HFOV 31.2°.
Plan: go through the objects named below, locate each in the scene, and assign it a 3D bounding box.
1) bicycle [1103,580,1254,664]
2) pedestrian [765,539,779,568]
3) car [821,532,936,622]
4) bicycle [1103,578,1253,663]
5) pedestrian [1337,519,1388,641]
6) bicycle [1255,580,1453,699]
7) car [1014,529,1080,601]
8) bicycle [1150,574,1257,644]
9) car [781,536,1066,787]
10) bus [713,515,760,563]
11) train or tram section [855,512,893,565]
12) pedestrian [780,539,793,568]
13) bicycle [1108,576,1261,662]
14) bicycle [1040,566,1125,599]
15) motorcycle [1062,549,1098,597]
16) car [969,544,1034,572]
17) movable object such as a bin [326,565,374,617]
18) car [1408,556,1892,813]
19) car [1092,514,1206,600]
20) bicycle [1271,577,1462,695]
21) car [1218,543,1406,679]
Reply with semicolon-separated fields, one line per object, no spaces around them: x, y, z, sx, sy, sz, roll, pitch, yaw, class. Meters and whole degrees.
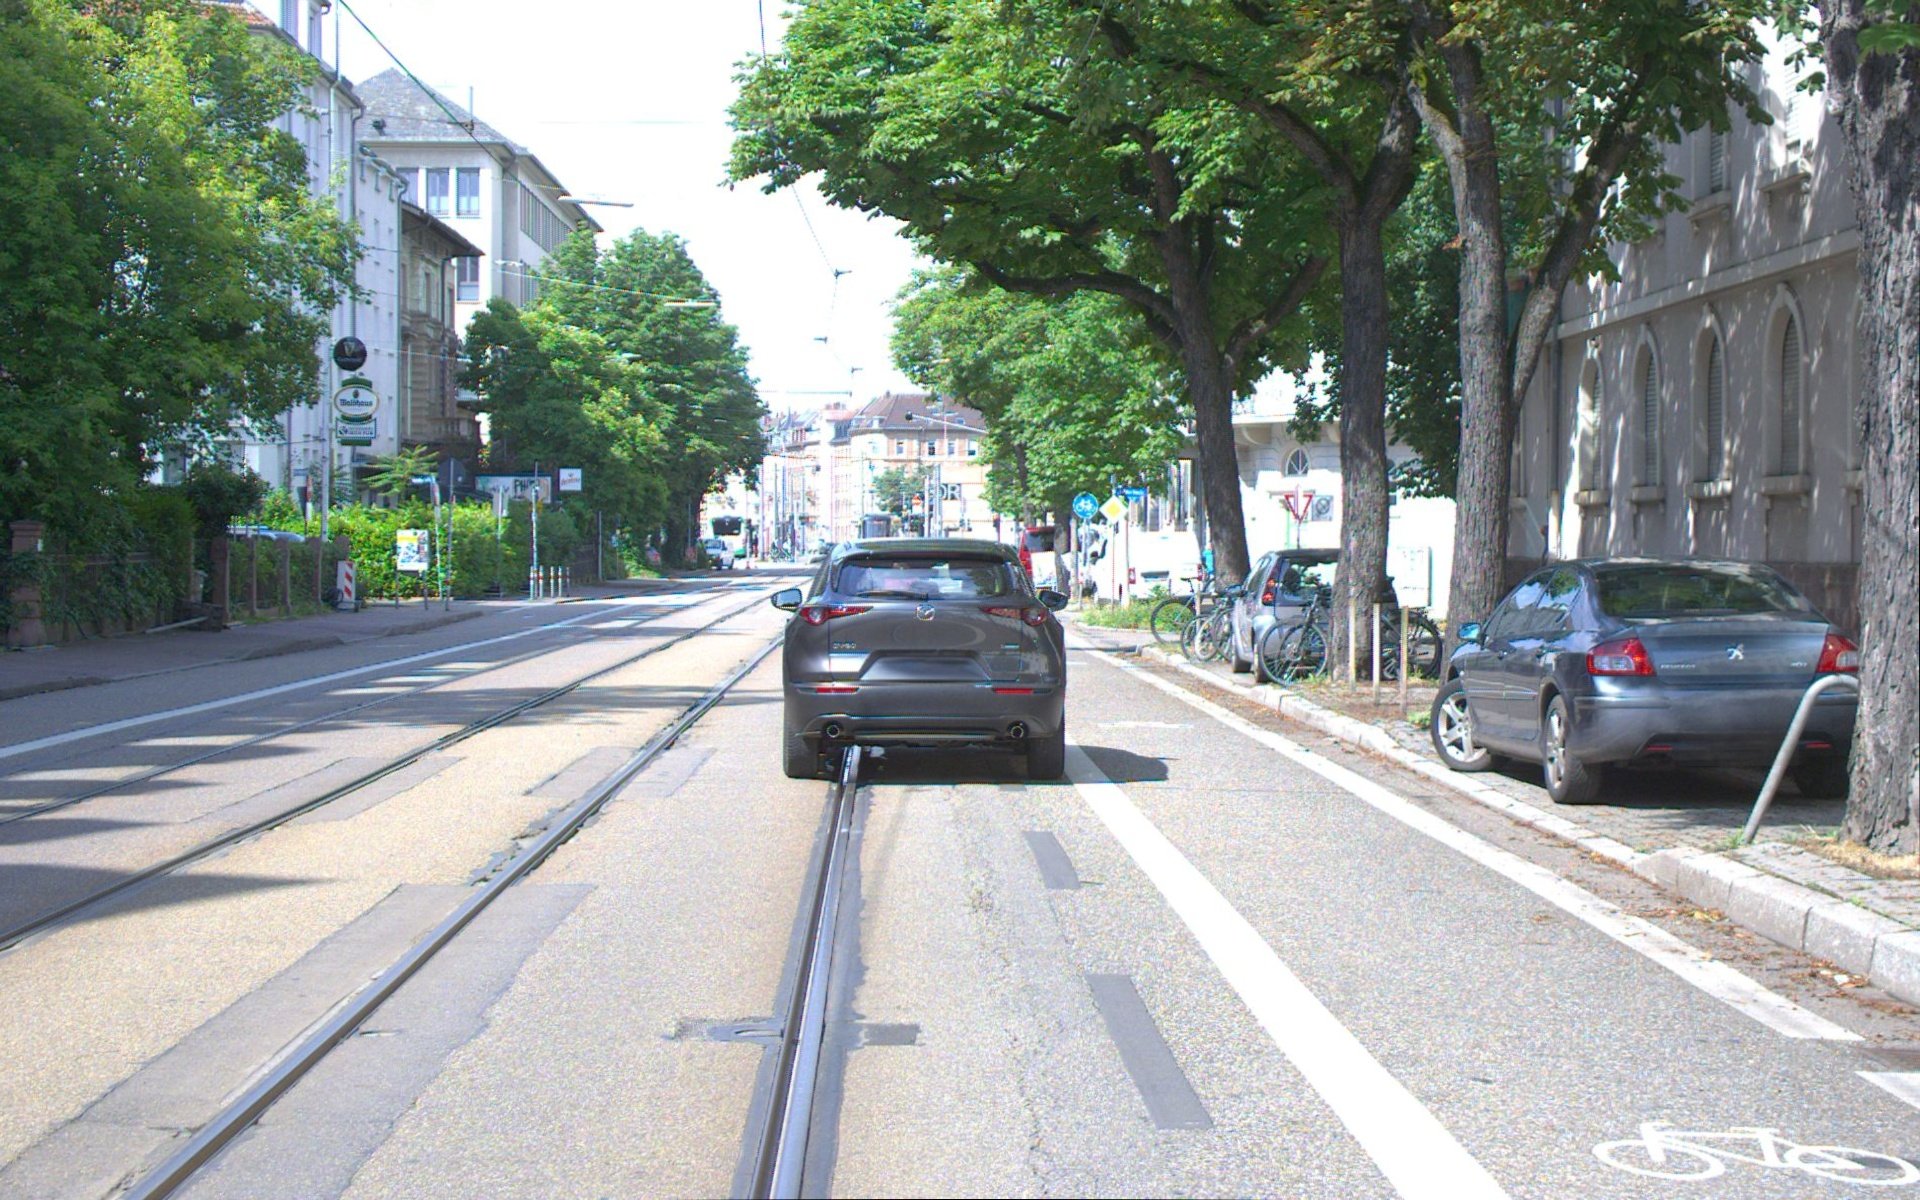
2.810;0.281;44.198;1.903;1.068;0.402;0;1;-1;bicycle
-12.878;-3.166;235.416;0.884;2.007;0.618;0;1;-5;pedestrian
-1.512;-0.438;63.469;1.993;1.523;4.000;2;1;-2;car
2.824;0.264;44.597;1.903;1.068;0.402;0;1;-1;bicycle
6.093;-0.289;52.071;0.610;1.830;0.879;0;-1;-3;pedestrian
3.964;0.392;34.551;1.938;1.172;0.513;-1;0;11;bicycle
2.441;-1.003;97.402;1.720;1.962;4.207;0;1;-1;car
3.442;0.128;48.624;1.491;0.980;0.259;0;0;1;bicycle
-0.268;0.346;22.687;1.720;1.521;3.590;0;1;-2;car
-16.761;-4.561;257.066;2.688;3.409;11.020;2;1;-7;bus
-6.205;-4.447;250.340;2.571;3.760;13.026;0;1;-1;train or tram section
-11.888;-3.179;235.414;0.884;2.007;0.618;0;1;-5;pedestrian
2.848;0.238;43.666;1.903;1.068;0.402;0;1;-1;bicycle
3.336;-0.479;93.530;2.275;0.858;0.672;0;1;-2;bicycle
3.174;-0.722;91.009;0.794;1.267;2.422;0;1;-2;motorcycle
2.682;-2.735;222.803;3.805;1.612;1.638;2;1;-19;car
-12.246;-0.184;69.031;0.745;0.984;1.114;2;1;-1;movable object such as a bin
4.205;0.451;21.685;1.846;1.404;4.395;-2;1;-4;car
4.406;-1.027;80.748;1.786;1.932;4.992;0;1;-7;car
4.146;0.367;35.052;1.895;1.172;0.513;-1;0;11;bicycle
3.962;0.097;39.176;1.666;1.425;3.766;-2;1;-1;car
